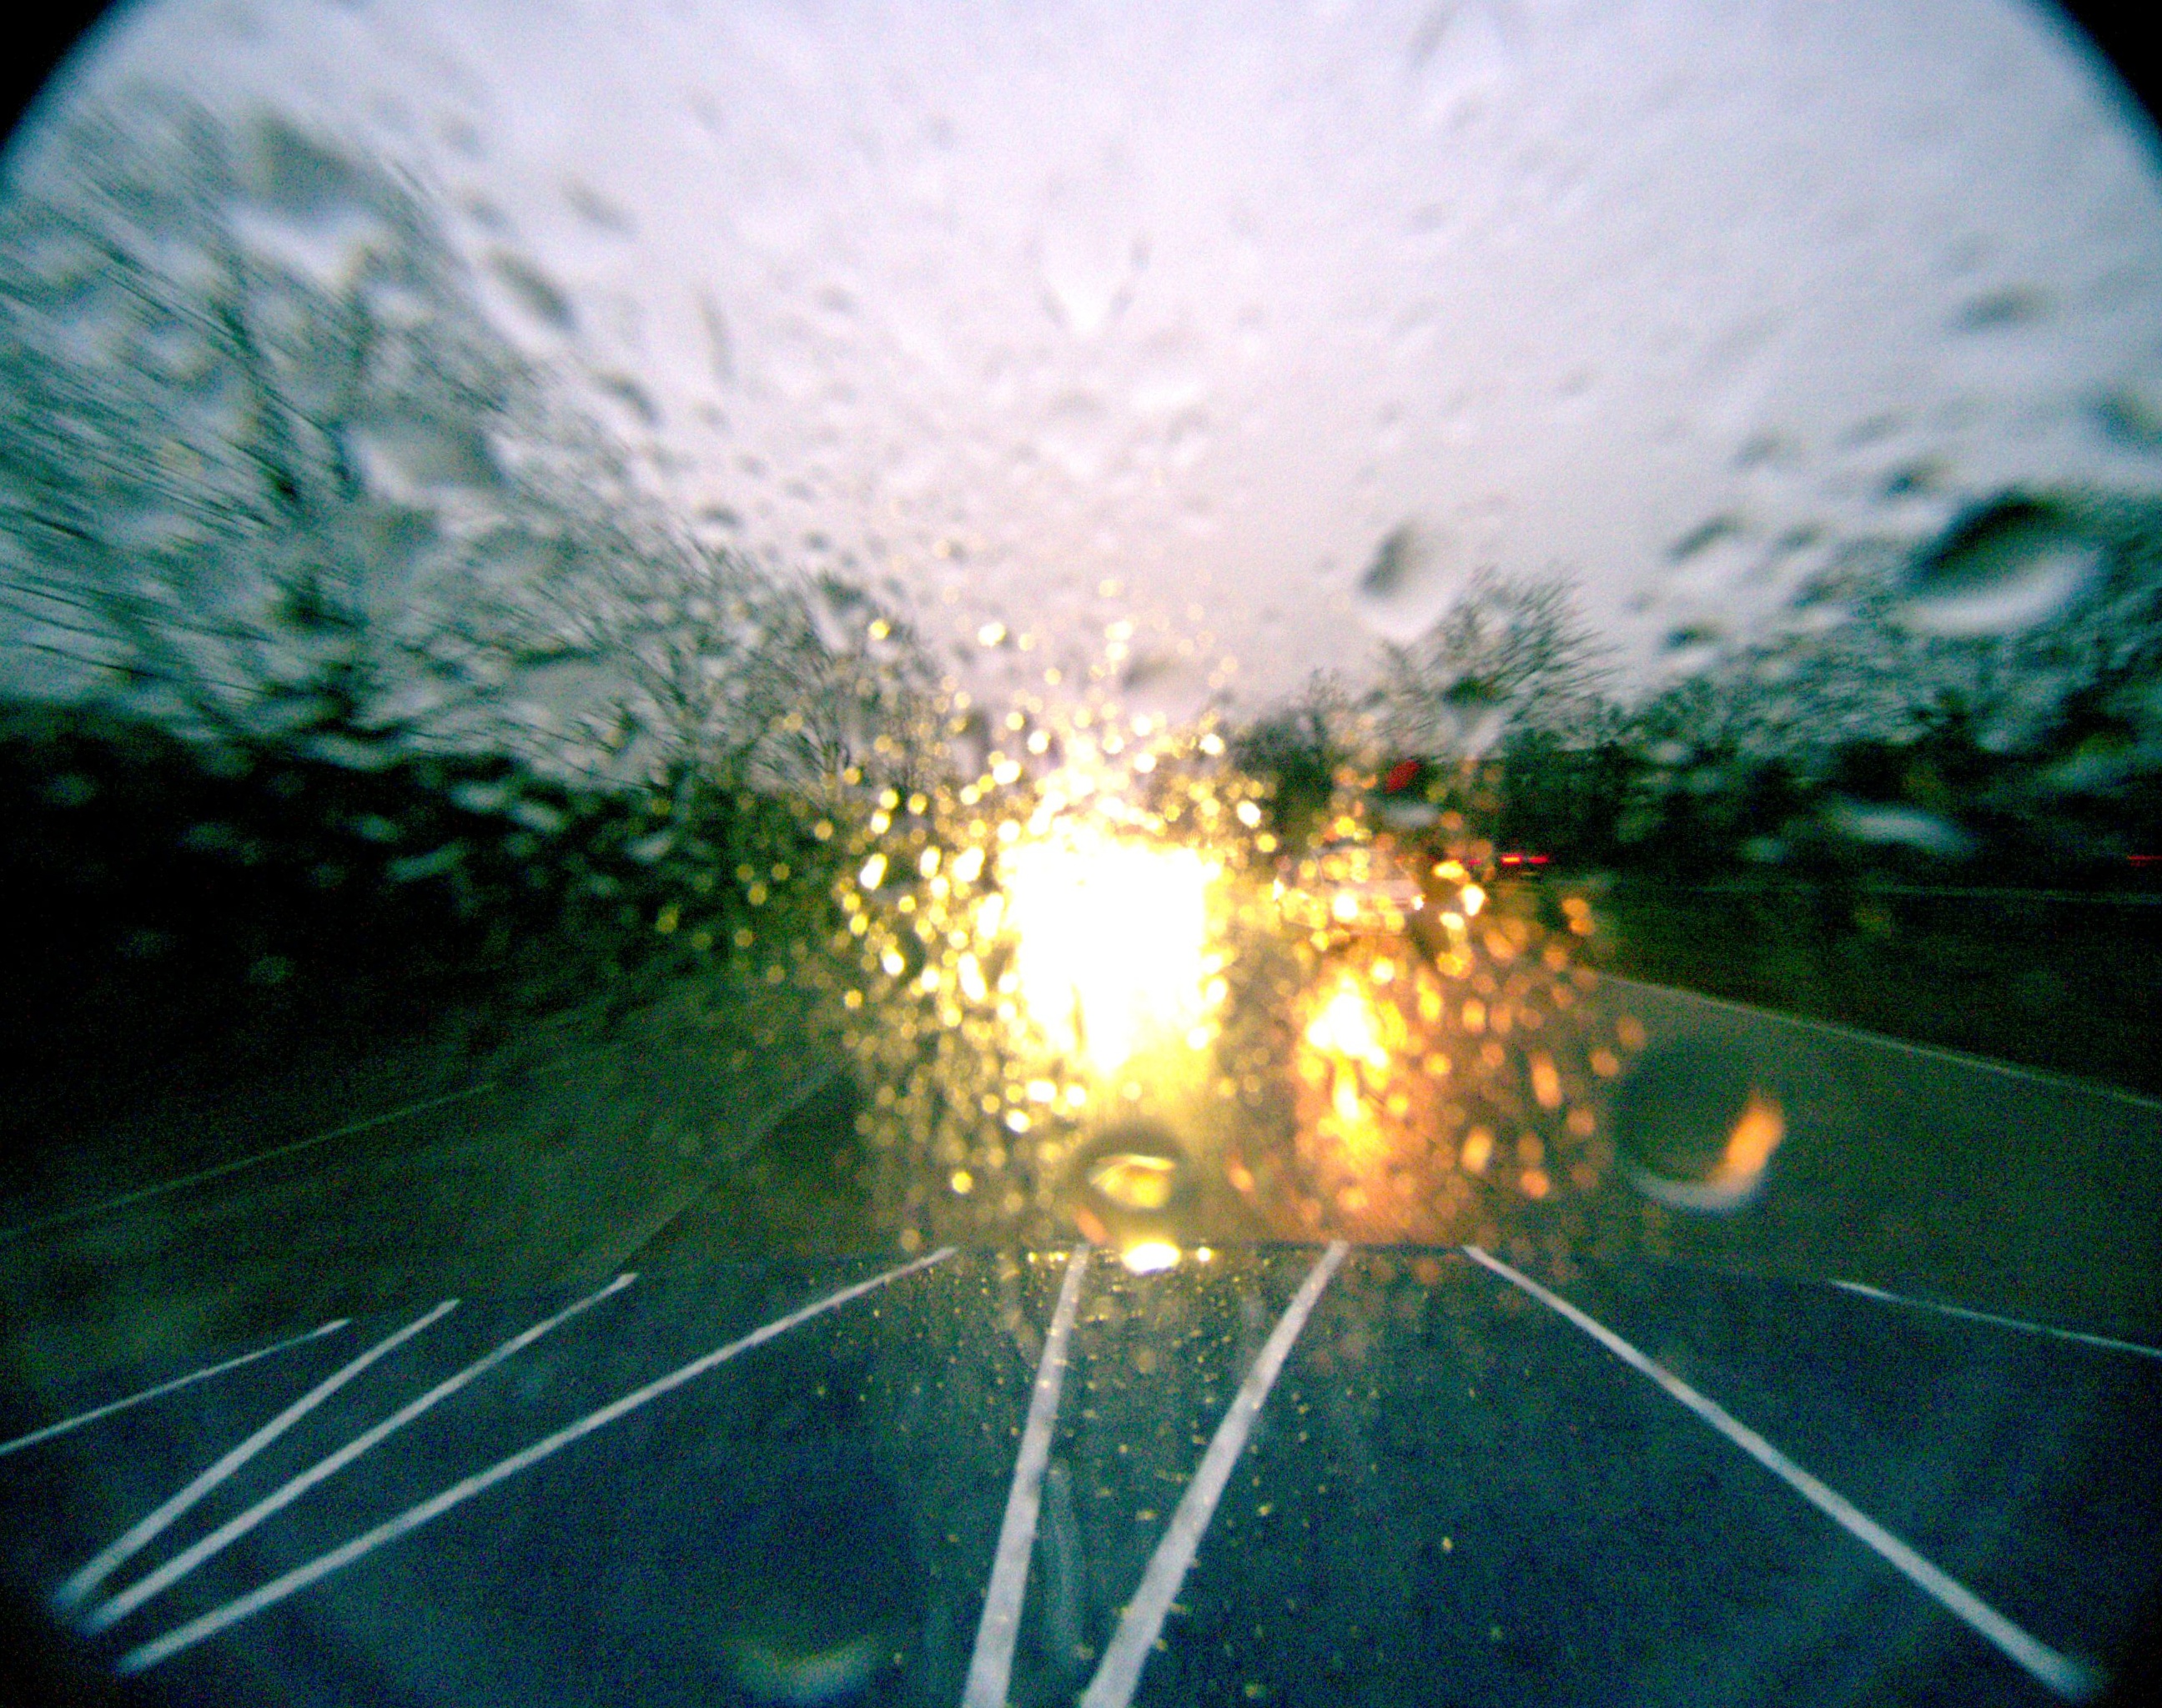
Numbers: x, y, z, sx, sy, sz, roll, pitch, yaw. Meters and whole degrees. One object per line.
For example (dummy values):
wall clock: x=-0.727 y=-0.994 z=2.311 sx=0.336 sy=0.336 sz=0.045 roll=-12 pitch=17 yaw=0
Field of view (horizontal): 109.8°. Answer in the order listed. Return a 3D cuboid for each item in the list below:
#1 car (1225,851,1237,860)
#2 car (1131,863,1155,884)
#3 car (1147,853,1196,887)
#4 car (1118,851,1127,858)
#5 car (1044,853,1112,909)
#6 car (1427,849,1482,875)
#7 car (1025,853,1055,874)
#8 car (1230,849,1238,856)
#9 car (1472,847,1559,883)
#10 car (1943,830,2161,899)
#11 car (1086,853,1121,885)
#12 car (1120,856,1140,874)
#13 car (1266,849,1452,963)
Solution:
car: x=27.431 y=0.290 z=139.301 sx=1.621 sy=1.672 sz=3.981 roll=-1 pitch=0 yaw=4
car: x=4.655 y=1.434 z=57.366 sx=1.696 sy=1.327 sz=4.000 roll=-2 pitch=1 yaw=3
car: x=4.473 y=0.755 z=37.977 sx=2.026 sy=1.522 sz=4.145 roll=-1 pitch=1 yaw=2
car: x=9.595 y=0.029 z=177.211 sx=1.998 sy=1.605 sz=4.000 roll=-1 pitch=0 yaw=2
car: x=0.004 y=0.771 z=23.668 sx=1.830 sy=1.524 sz=4.000 roll=-1 pitch=1 yaw=4
car: x=24.719 y=0.500 z=50.447 sx=1.652 sy=1.557 sz=4.598 roll=-1 pitch=1 yaw=4
car: x=-2.978 y=0.695 z=56.125 sx=1.728 sy=1.426 sz=3.791 roll=-1 pitch=1 yaw=4
car: x=36.949 y=-0.379 z=183.424 sx=1.751 sy=1.387 sz=4.302 roll=-1 pitch=1 yaw=9
car: x=19.899 y=0.462 z=35.039 sx=1.787 sy=1.524 sz=4.379 roll=-1 pitch=1 yaw=5
car: x=26.079 y=0.200 z=19.904 sx=1.787 sy=1.599 sz=4.682 roll=-1 pitch=1 yaw=2
car: x=1.266 y=0.794 z=41.357 sx=1.727 sy=1.573 sz=3.791 roll=-1 pitch=1 yaw=5
car: x=4.861 y=1.053 z=74.711 sx=1.852 sy=1.610 sz=3.952 roll=-2 pitch=1 yaw=5
car: x=4.557 y=0.747 z=13.140 sx=1.765 sy=1.590 sz=4.165 roll=-1 pitch=1 yaw=2
